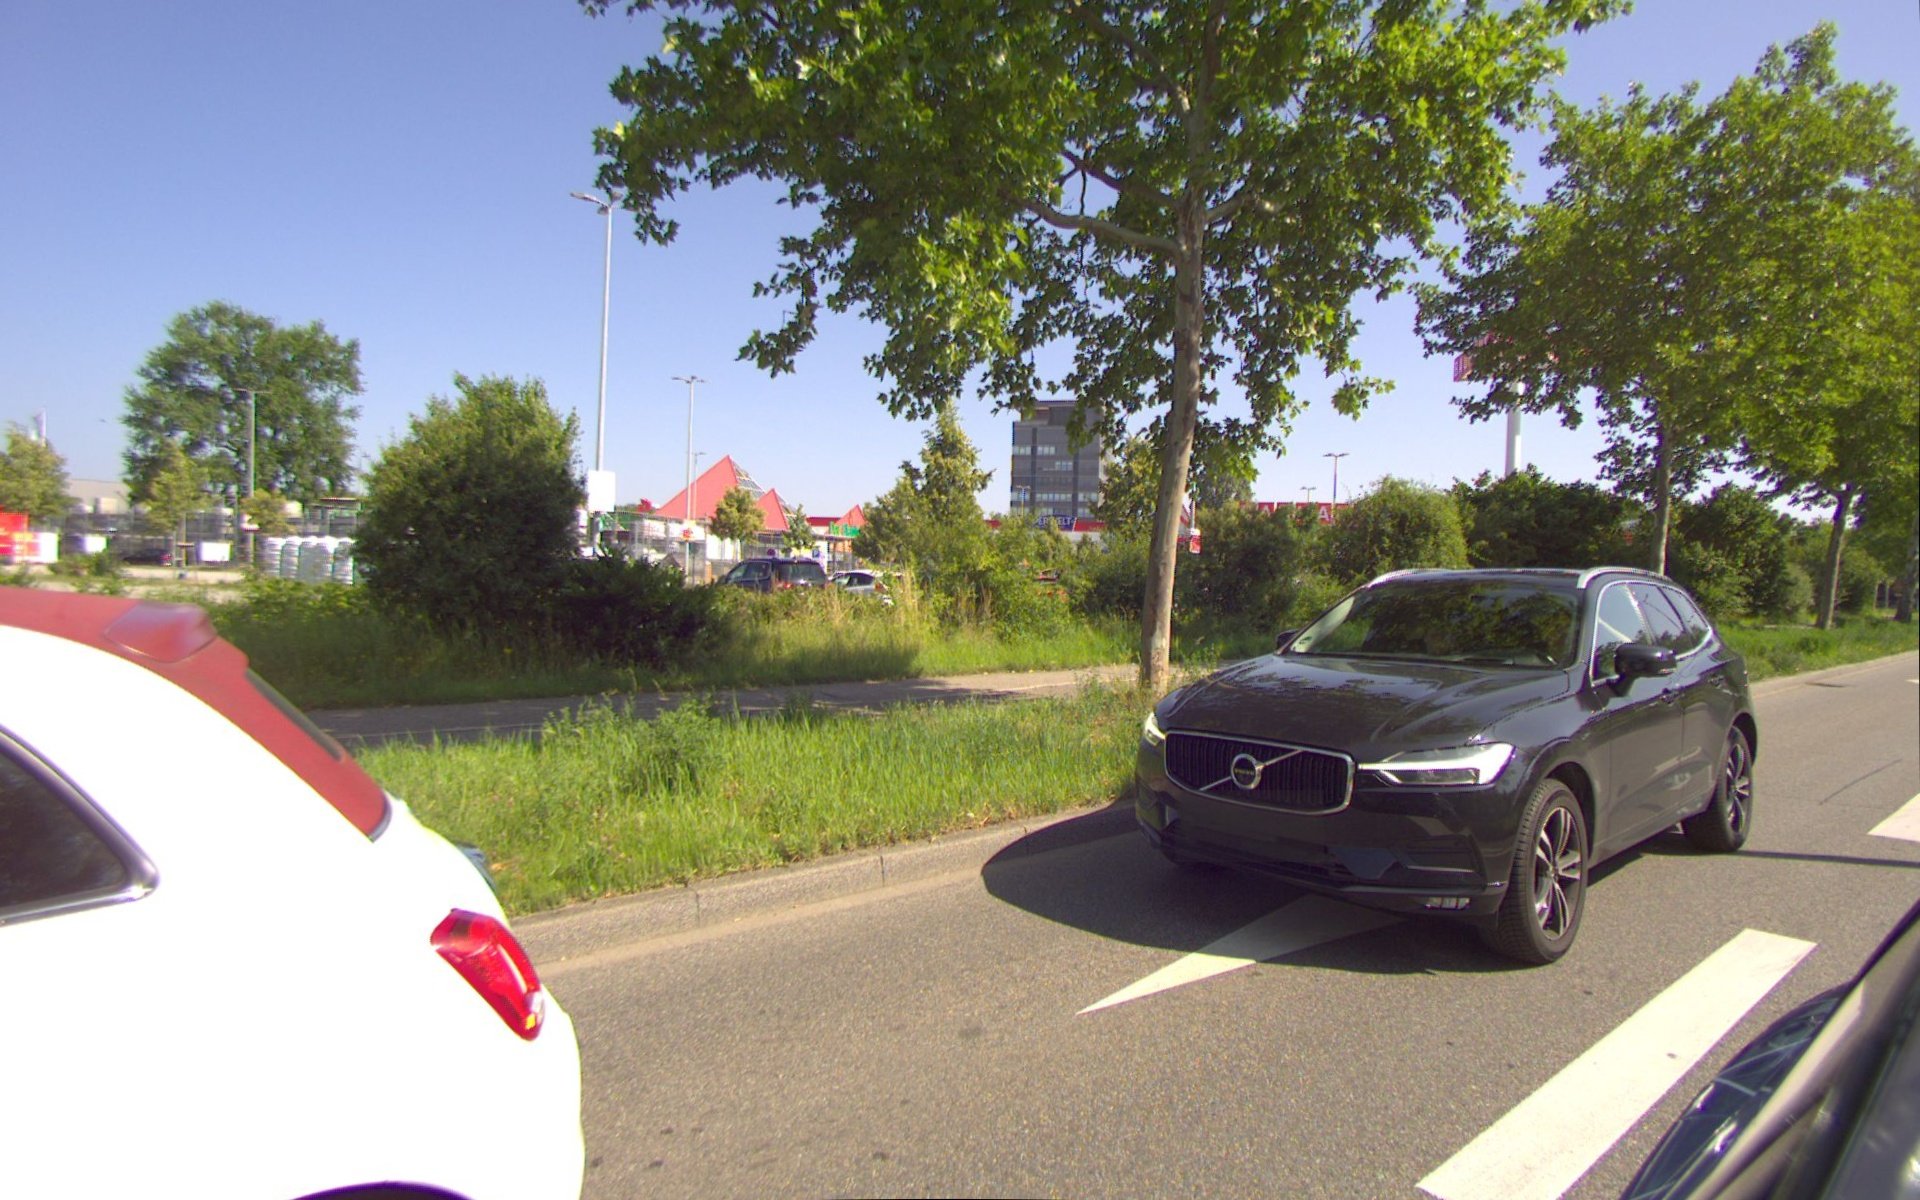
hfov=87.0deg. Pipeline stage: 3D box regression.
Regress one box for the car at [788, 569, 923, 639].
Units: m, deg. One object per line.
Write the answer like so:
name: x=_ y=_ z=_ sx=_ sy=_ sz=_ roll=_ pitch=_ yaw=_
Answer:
car: x=-2.792 y=0.052 z=26.683 sx=3.549 sy=1.717 sz=1.692 roll=1 pitch=1 yaw=45

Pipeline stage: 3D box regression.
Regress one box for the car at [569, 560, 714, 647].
car: x=-6.978 y=0.033 z=21.984 sx=1.690 sy=1.717 sz=3.552 roll=0 pitch=1 yaw=-42

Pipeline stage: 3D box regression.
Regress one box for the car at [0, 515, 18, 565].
car: x=-47.134 y=-2.813 z=46.126 sx=2.087 sy=2.370 sz=5.903 roll=0 pitch=1 yaw=18

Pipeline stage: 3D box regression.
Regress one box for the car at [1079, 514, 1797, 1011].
car: x=2.879 y=0.502 z=5.551 sx=4.485 sy=1.642 sz=1.923 roll=-1 pitch=1 yaw=-41

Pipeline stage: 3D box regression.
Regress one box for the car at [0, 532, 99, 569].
car: x=-54.979 y=-2.946 z=61.006 sx=1.971 sy=2.039 sz=4.370 roll=0 pitch=1 yaw=15

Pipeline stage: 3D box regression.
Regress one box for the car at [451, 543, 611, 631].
car: x=-9.881 y=-0.314 z=23.102 sx=2.077 sy=1.781 sz=4.763 roll=0 pitch=1 yaw=-40

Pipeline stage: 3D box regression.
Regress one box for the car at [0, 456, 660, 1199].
car: x=-2.327 y=0.566 z=1.157 sx=3.456 sy=1.454 sz=1.665 roll=-1 pitch=1 yaw=-39

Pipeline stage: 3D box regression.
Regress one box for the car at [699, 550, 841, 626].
car: x=-4.664 y=-0.307 z=24.613 sx=3.549 sy=1.717 sz=1.692 roll=1 pitch=1 yaw=45
